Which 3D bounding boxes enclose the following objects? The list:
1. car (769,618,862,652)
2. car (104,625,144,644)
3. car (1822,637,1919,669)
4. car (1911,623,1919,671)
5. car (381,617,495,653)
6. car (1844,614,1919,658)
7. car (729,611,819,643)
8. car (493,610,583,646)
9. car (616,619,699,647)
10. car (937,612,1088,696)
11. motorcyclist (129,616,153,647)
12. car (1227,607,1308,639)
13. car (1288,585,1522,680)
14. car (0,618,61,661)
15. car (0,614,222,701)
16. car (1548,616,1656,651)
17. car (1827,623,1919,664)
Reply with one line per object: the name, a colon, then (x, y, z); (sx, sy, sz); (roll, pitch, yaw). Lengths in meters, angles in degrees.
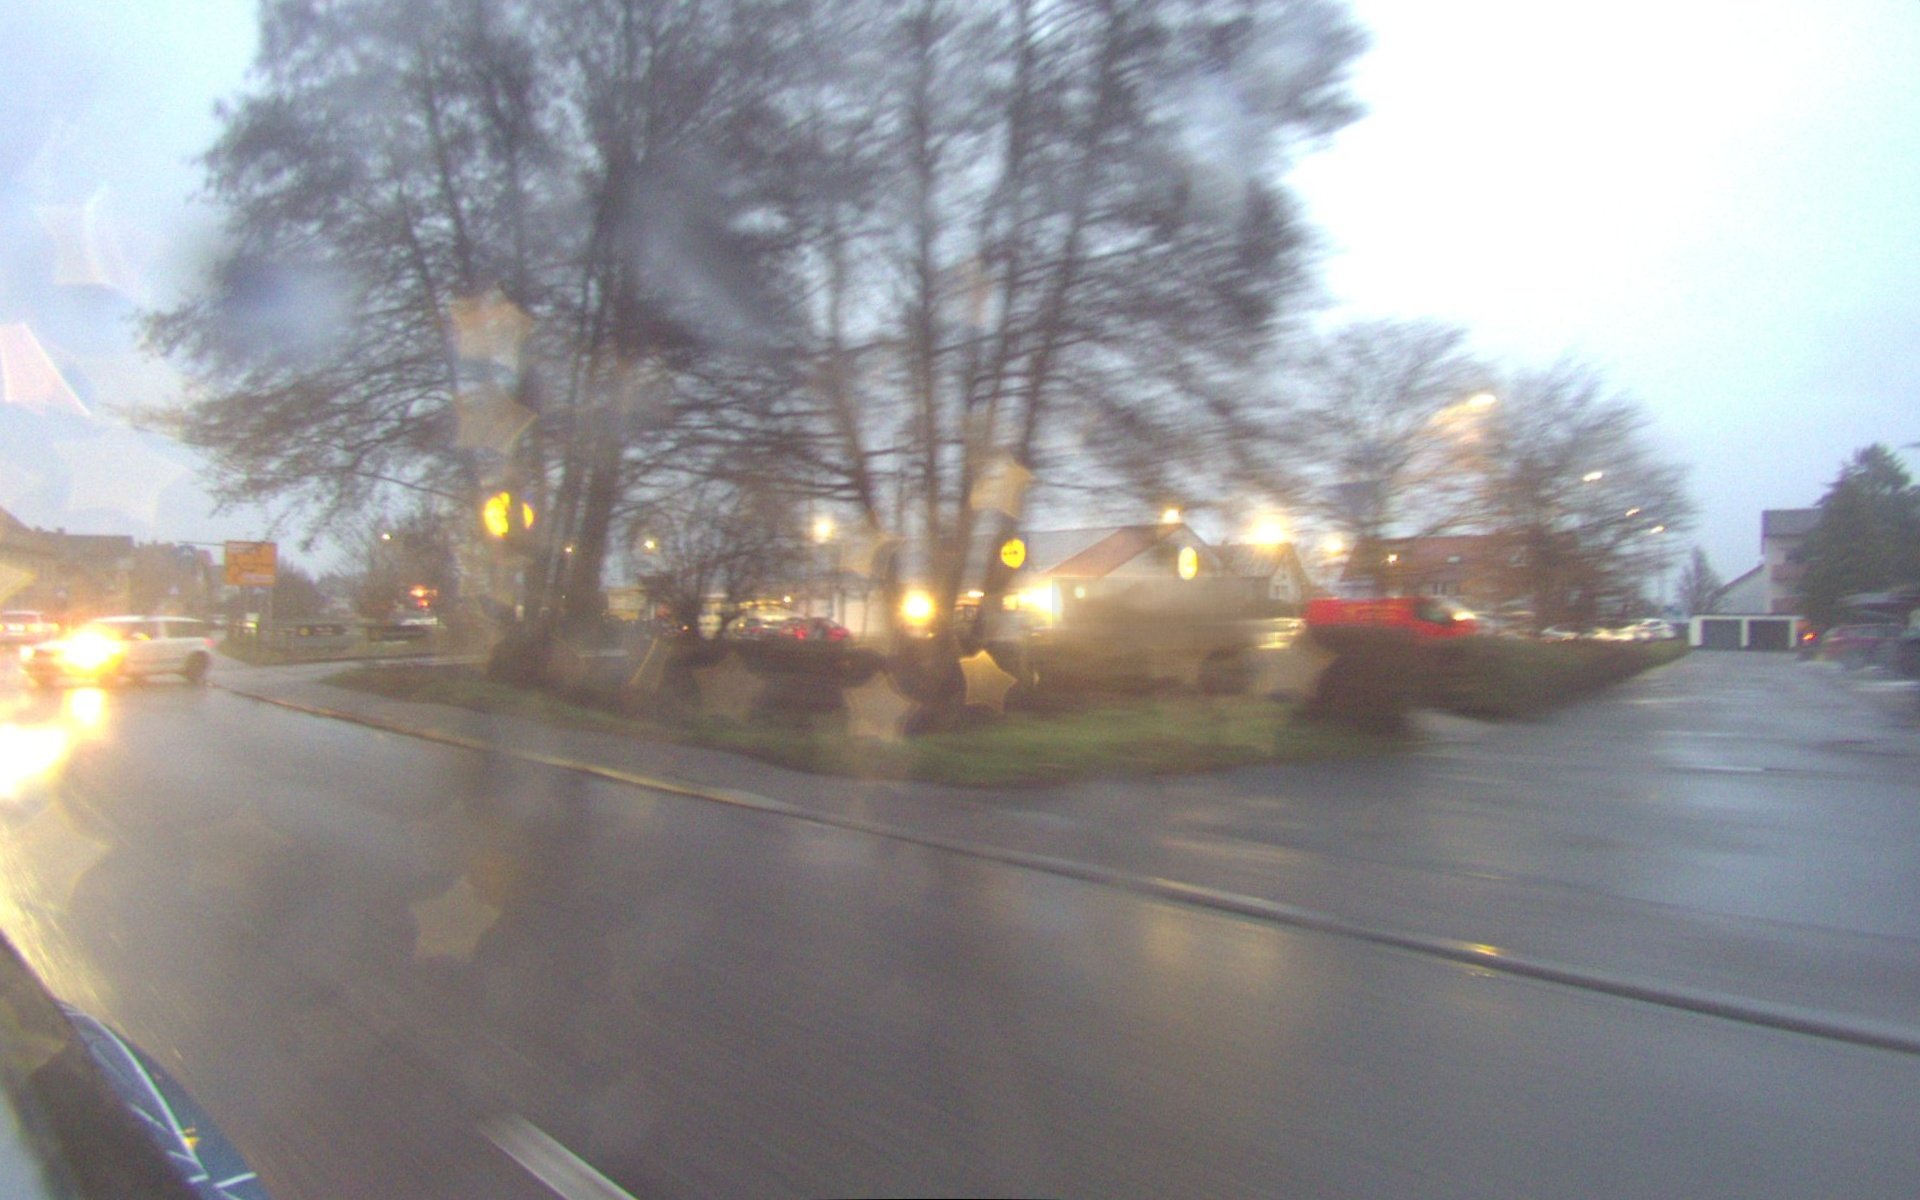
car: (-7.067, 1.765, 49.937); (2.052, 1.575, 4.388); (-2, -4, 37)
car: (-69.140, 2.866, 83.750); (1.746, 1.442, 3.808); (-1, -1, -28)
car: (39.064, 2.244, 43.341); (1.364, 1.182, 3.162); (-3, 1, -45)
car: (30.182, 1.378, 29.540); (3.370, 1.342, 1.419); (-1, 1, 39)
car: (-26.272, 1.730, 51.075); (2.030, 1.725, 4.726); (-1, -2, 37)
car: (30.976, 1.159, 32.810); (3.370, 1.342, 1.419); (-1, 1, 39)
car: (-9.622, 1.440, 52.566); (2.052, 1.575, 4.388); (-2, -4, 37)
car: (-28.229, 1.947, 67.849); (2.215, 2.300, 5.136); (-2, -4, 37)
car: (-17.983, 1.988, 60.350); (2.052, 1.575, 4.388); (-2, -4, 37)
car: (1.544, 1.412, 27.871); (2.121, 1.992, 4.610); (-3, -1, 32)
motorcyclist: (-39.202, 1.498, 48.447); (0.855, 1.496, 0.910); (0, -1, -42)
car: (17.390, 1.309, 57.317); (3.990, 1.629, 1.896); (-3, -1, 35)
car: (11.839, 0.880, 27.149); (5.264, 2.296, 2.258); (-3, -1, 40)
car: (-40.543, 1.686, 43.878); (1.747, 1.736, 4.433); (1, -2, -34)
car: (-20.392, 1.302, 24.384); (1.876, 1.712, 4.234); (-2, 1, 5)
car: (33.728, 1.782, 53.237); (4.517, 1.652, 1.911); (-3, 0, 42)
car: (33.466, 1.551, 36.419); (3.370, 1.342, 1.419); (-1, 1, 39)
